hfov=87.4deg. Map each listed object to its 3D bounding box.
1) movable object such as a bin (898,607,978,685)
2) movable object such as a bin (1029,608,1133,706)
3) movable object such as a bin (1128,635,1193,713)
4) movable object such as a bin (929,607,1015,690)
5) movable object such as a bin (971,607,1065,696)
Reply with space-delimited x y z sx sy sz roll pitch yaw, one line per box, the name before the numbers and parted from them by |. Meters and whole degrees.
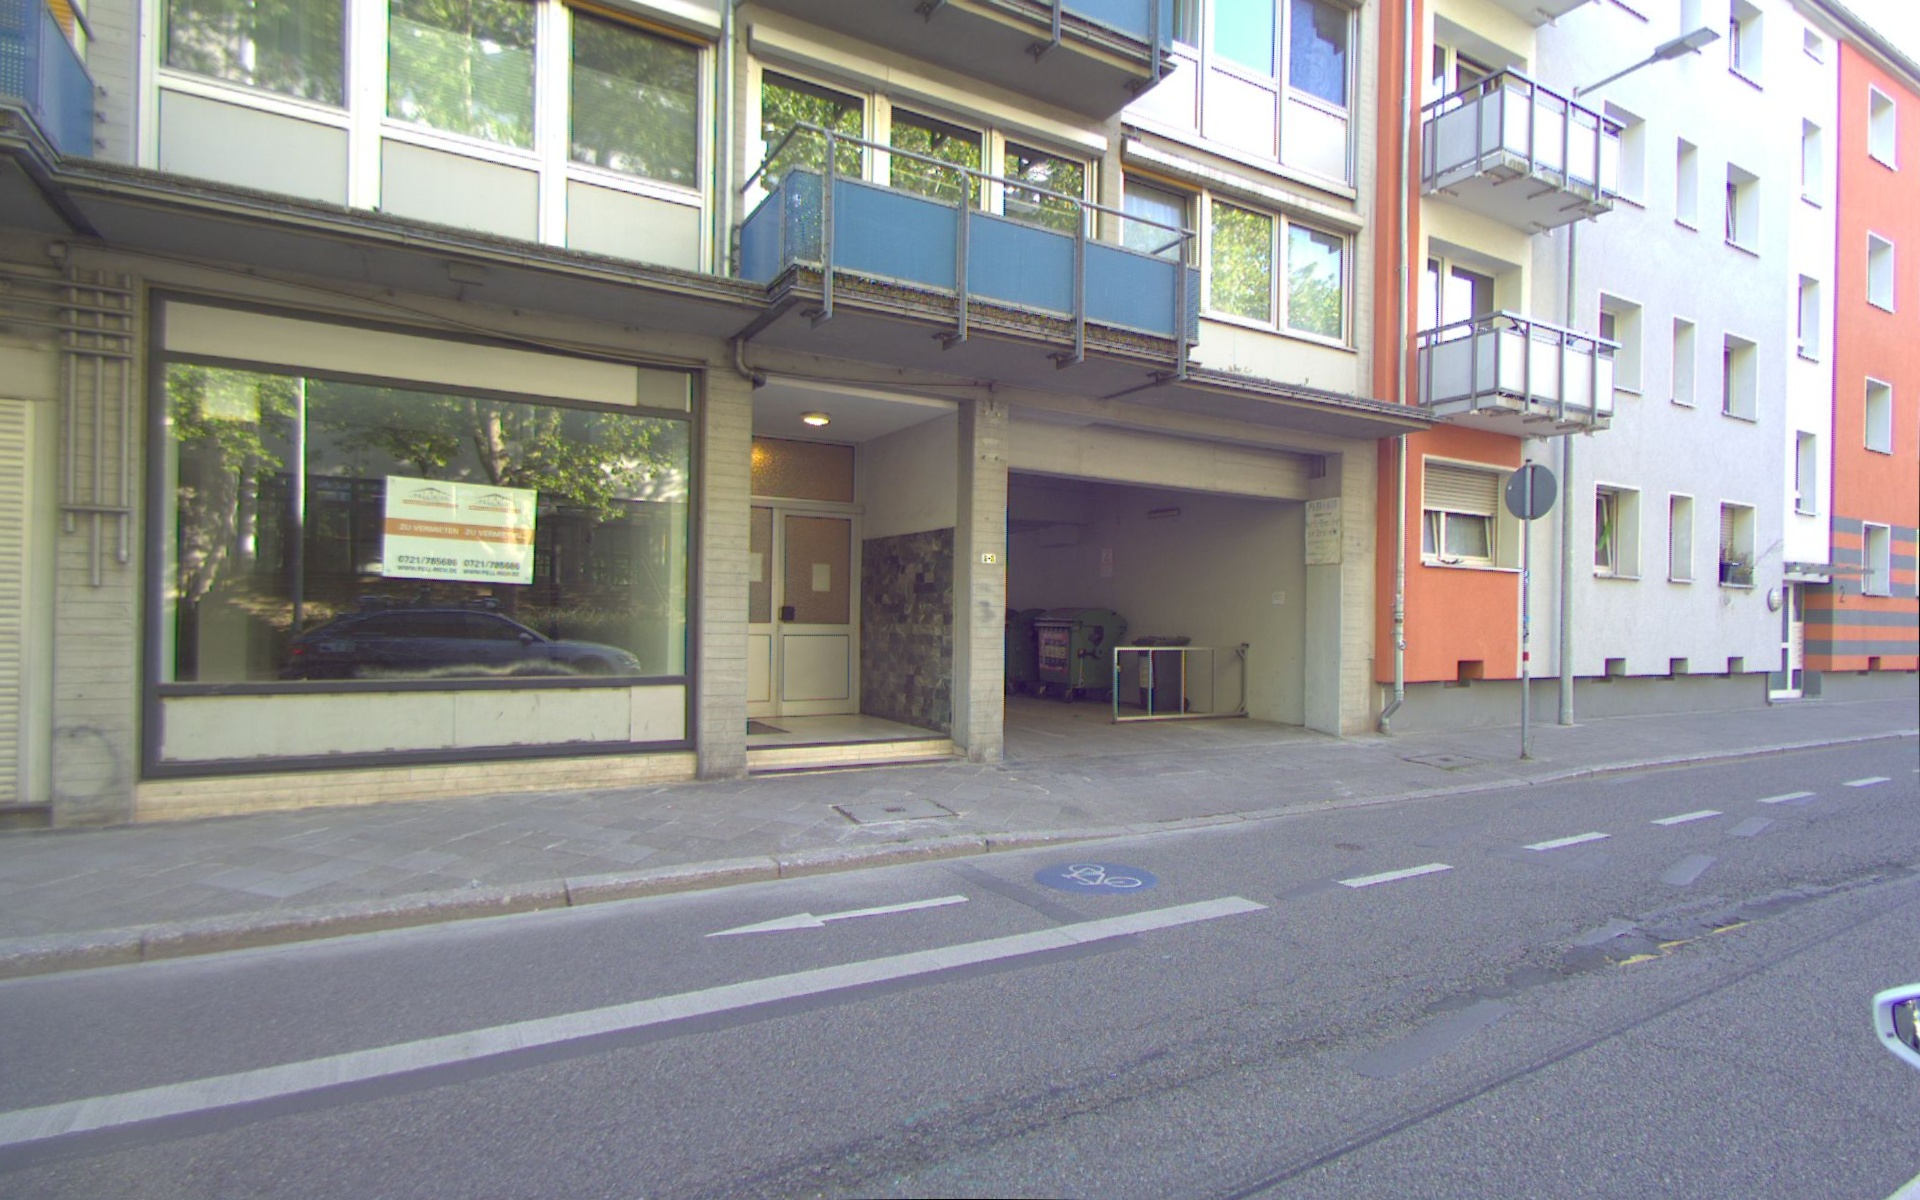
movable object such as a bin | -0.439 0.874 19.617 1.116 1.444 1.201 1 0 -30
movable object such as a bin | 1.891 0.867 15.812 1.116 1.444 1.201 1 0 -30
movable object such as a bin | 2.888 1.049 14.501 0.667 1.079 0.639 1 0 -30
movable object such as a bin | 0.208 0.867 18.469 1.116 1.444 1.201 1 0 -30
movable object such as a bin | 0.979 0.861 17.171 1.116 1.444 1.201 1 0 -30
